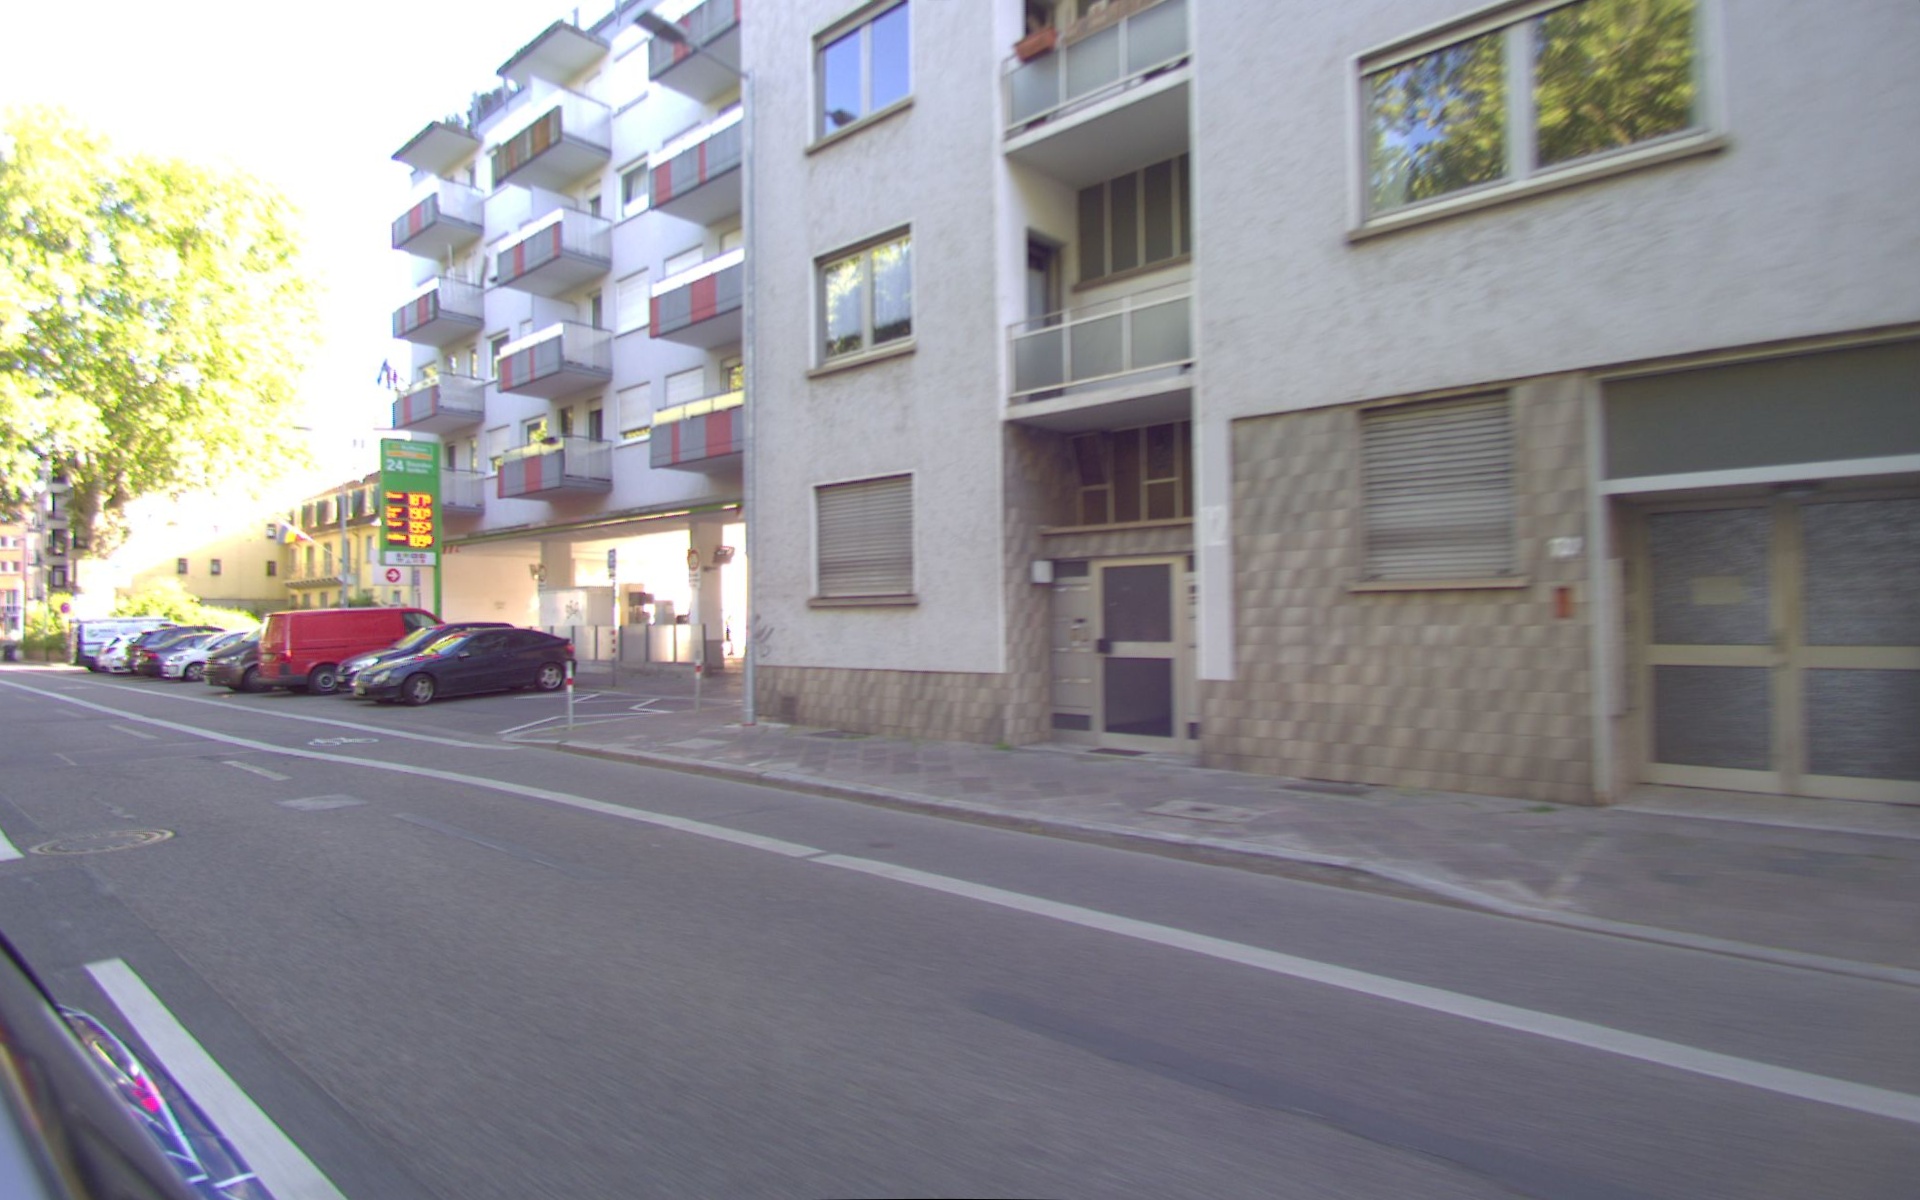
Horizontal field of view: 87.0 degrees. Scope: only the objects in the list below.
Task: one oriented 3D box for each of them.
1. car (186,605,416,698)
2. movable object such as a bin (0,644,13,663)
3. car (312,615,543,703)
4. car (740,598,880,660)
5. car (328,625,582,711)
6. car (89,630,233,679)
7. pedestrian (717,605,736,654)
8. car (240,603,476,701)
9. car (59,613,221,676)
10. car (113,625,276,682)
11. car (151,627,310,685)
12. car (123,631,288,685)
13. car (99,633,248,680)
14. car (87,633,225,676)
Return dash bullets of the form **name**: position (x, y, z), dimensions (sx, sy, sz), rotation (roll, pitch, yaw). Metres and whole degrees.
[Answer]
- **car**: position (-16.686, 1.238, 25.789), dimensions (2.055, 1.966, 4.476), rotation (-2, 1, 41)
- **movable object such as a bin**: position (-56.458, 3.162, 59.849), dimensions (0.644, 1.079, 0.588), rotation (-2, -2, 41)
- **car**: position (-11.754, 1.239, 22.551), dimensions (1.885, 1.575, 4.130), rotation (-2, 1, 41)
- **car**: position (-4.639, 0.878, 30.874), dimensions (4.583, 1.760, 1.703), rotation (-1, -2, 41)
- **car**: position (-10.243, 1.305, 20.757), dimensions (2.045, 1.390, 4.185), rotation (-1, 0, 41)
- **car**: position (-29.829, 2.000, 37.875), dimensions (1.852, 1.571, 3.946), rotation (-3, -1, 41)
- **pedestrian**: position (-8.036, 1.010, 34.822), dimensions (0.531, 1.662, 0.636), rotation (-1, -1, -6)
- **car**: position (-14.321, 1.157, 24.265), dimensions (2.145, 1.966, 4.376), rotation (-2, 1, 41)
- **car**: position (-33.202, 1.740, 41.085), dimensions (2.139, 2.233, 4.795), rotation (-2, 0, 40)
- **car**: position (-26.242, 1.784, 34.798), dimensions (2.027, 1.696, 4.151), rotation (-2, -1, 41)
- **car**: position (-22.553, 1.688, 31.364), dimensions (1.830, 1.524, 3.648), rotation (-2, 0, 41)
- **car**: position (-24.355, 1.826, 32.767), dimensions (1.915, 1.467, 3.946), rotation (-2, -1, 41)
- **car**: position (-28.250, 1.981, 36.451), dimensions (1.852, 1.444, 3.946), rotation (-3, -1, 41)
- **car**: position (-31.359, 2.088, 39.530), dimensions (1.852, 1.444, 3.946), rotation (-2, -1, 41)
